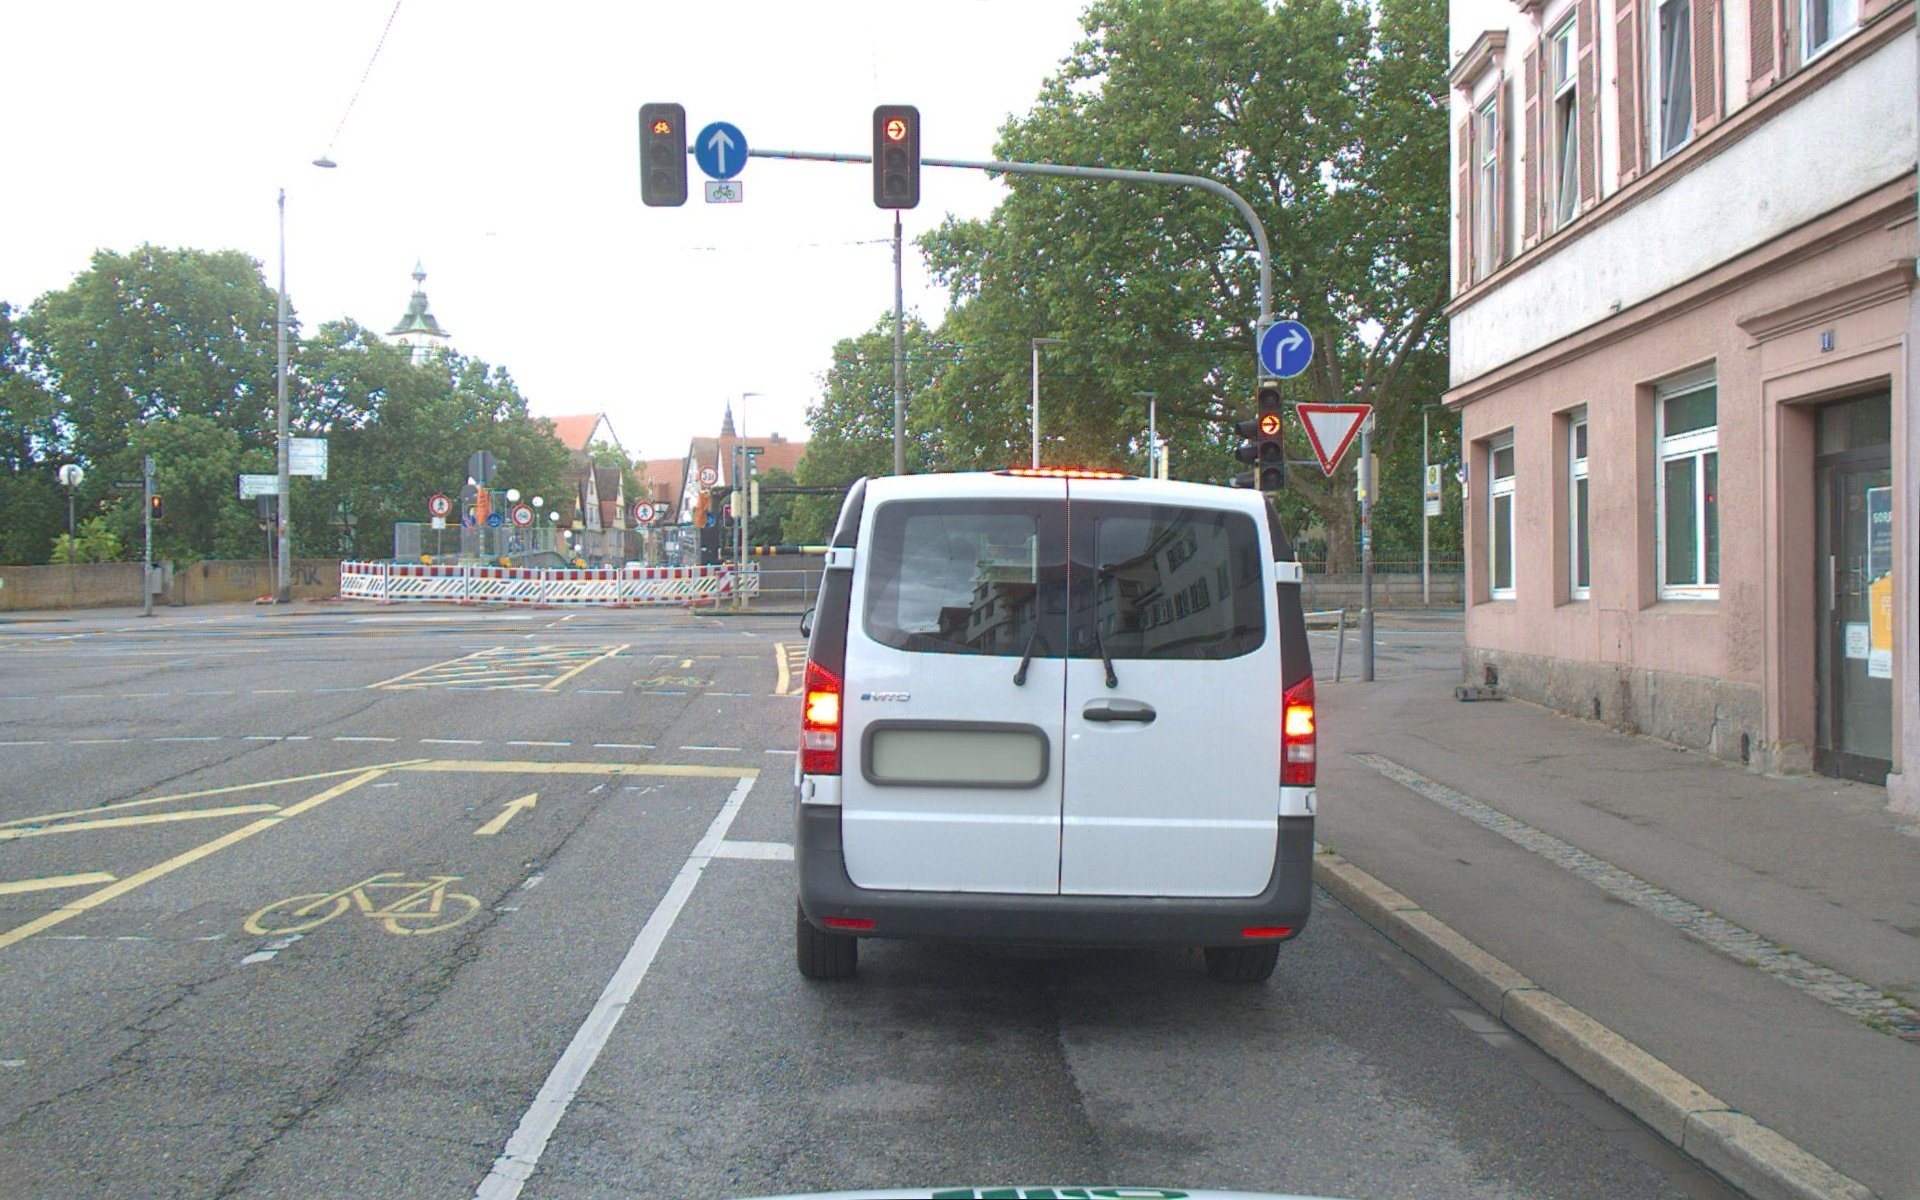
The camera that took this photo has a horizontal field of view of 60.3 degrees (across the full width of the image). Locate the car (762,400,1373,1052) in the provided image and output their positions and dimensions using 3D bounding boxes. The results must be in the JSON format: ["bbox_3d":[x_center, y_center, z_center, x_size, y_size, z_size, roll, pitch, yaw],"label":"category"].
[{"bbox_3d":[0.309,0.343,7.608,1.911,2.048,4.698,1,2,-1],"label":"car"}]

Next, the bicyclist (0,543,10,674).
[{"bbox_3d":[-13.065,0.113,21.979,0.715,1.730,0.804,-1,0,-28],"label":"bicyclist"}]

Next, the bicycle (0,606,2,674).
[{"bbox_3d":[-13.087,0.544,21.992,0.535,0.908,1.863,-1,1,-28],"label":"bicycle"}]
